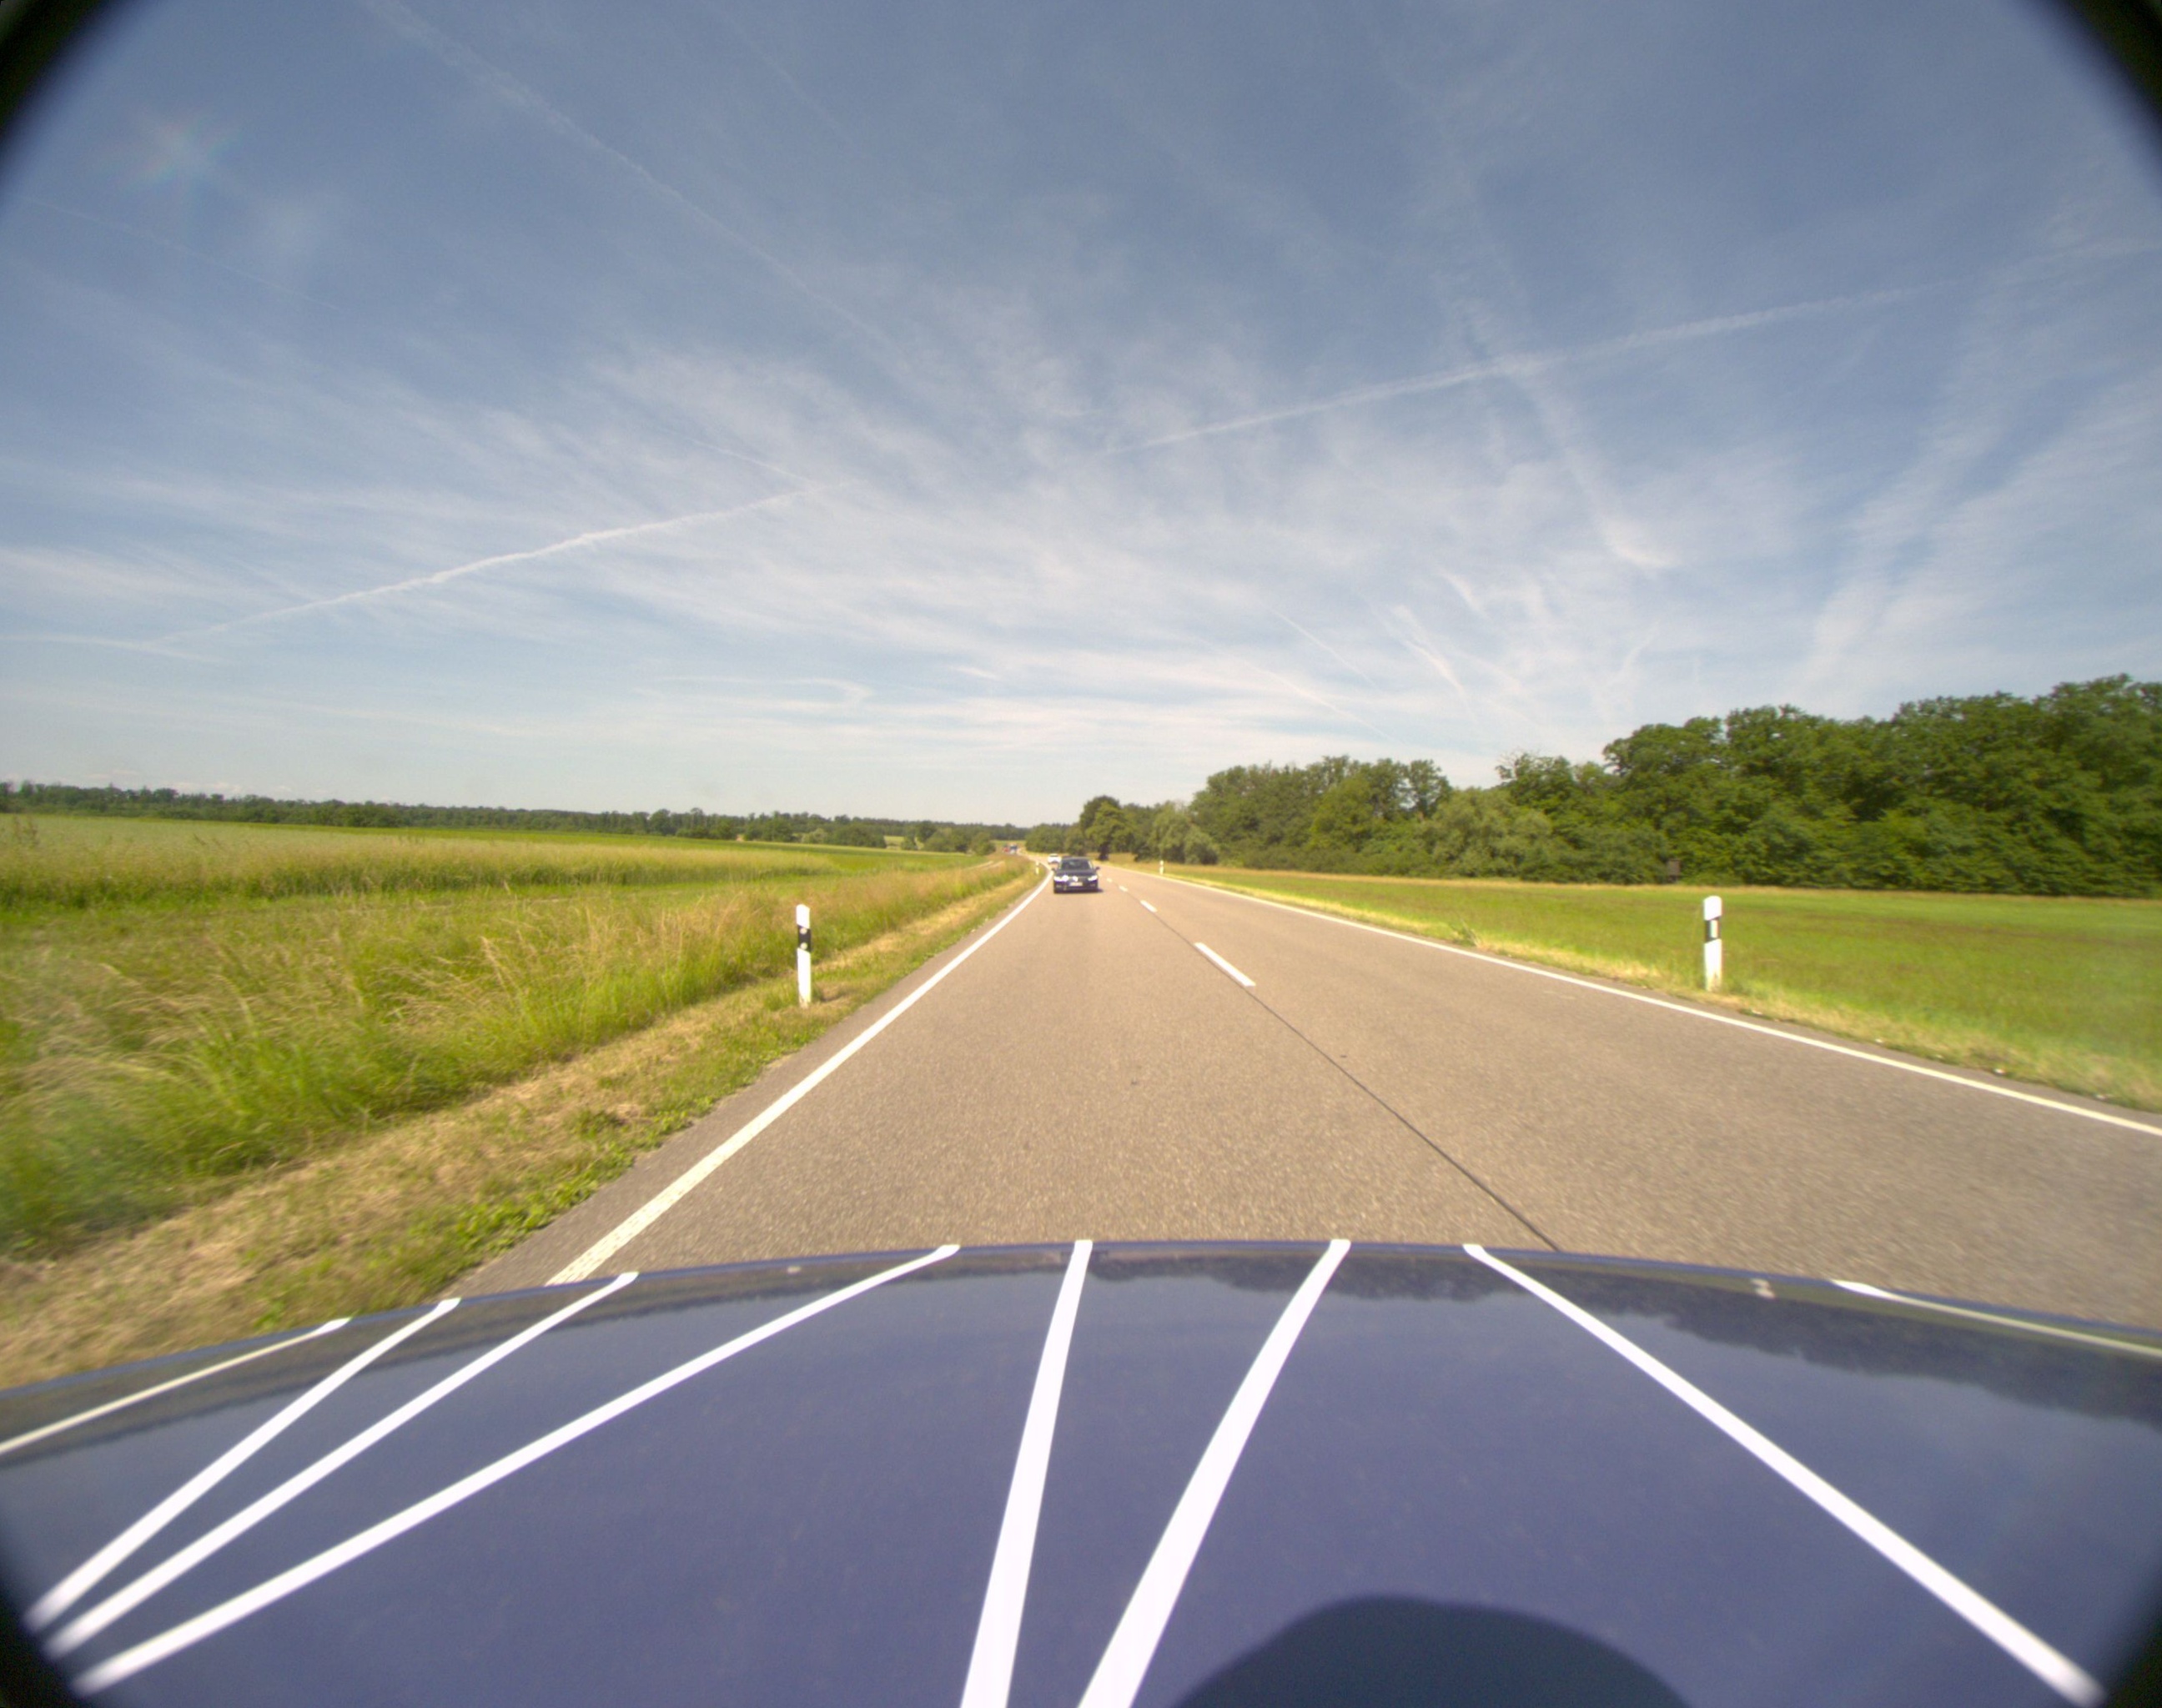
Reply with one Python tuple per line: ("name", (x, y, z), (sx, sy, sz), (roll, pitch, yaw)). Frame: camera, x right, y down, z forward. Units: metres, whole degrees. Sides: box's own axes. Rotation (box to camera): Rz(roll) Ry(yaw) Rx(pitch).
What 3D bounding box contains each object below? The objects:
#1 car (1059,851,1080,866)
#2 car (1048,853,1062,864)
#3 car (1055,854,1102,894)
("car", (-1.261, 0.486, 80.778), (1.929, 1.501, 4.289), (0, 0, -4))
("car", (-3.966, 0.699, 115.148), (1.929, 1.501, 4.289), (1, 0, -4))
("car", (-0.127, 0.795, 32.491), (1.822, 1.501, 4.500), (-2, 0, -1))
